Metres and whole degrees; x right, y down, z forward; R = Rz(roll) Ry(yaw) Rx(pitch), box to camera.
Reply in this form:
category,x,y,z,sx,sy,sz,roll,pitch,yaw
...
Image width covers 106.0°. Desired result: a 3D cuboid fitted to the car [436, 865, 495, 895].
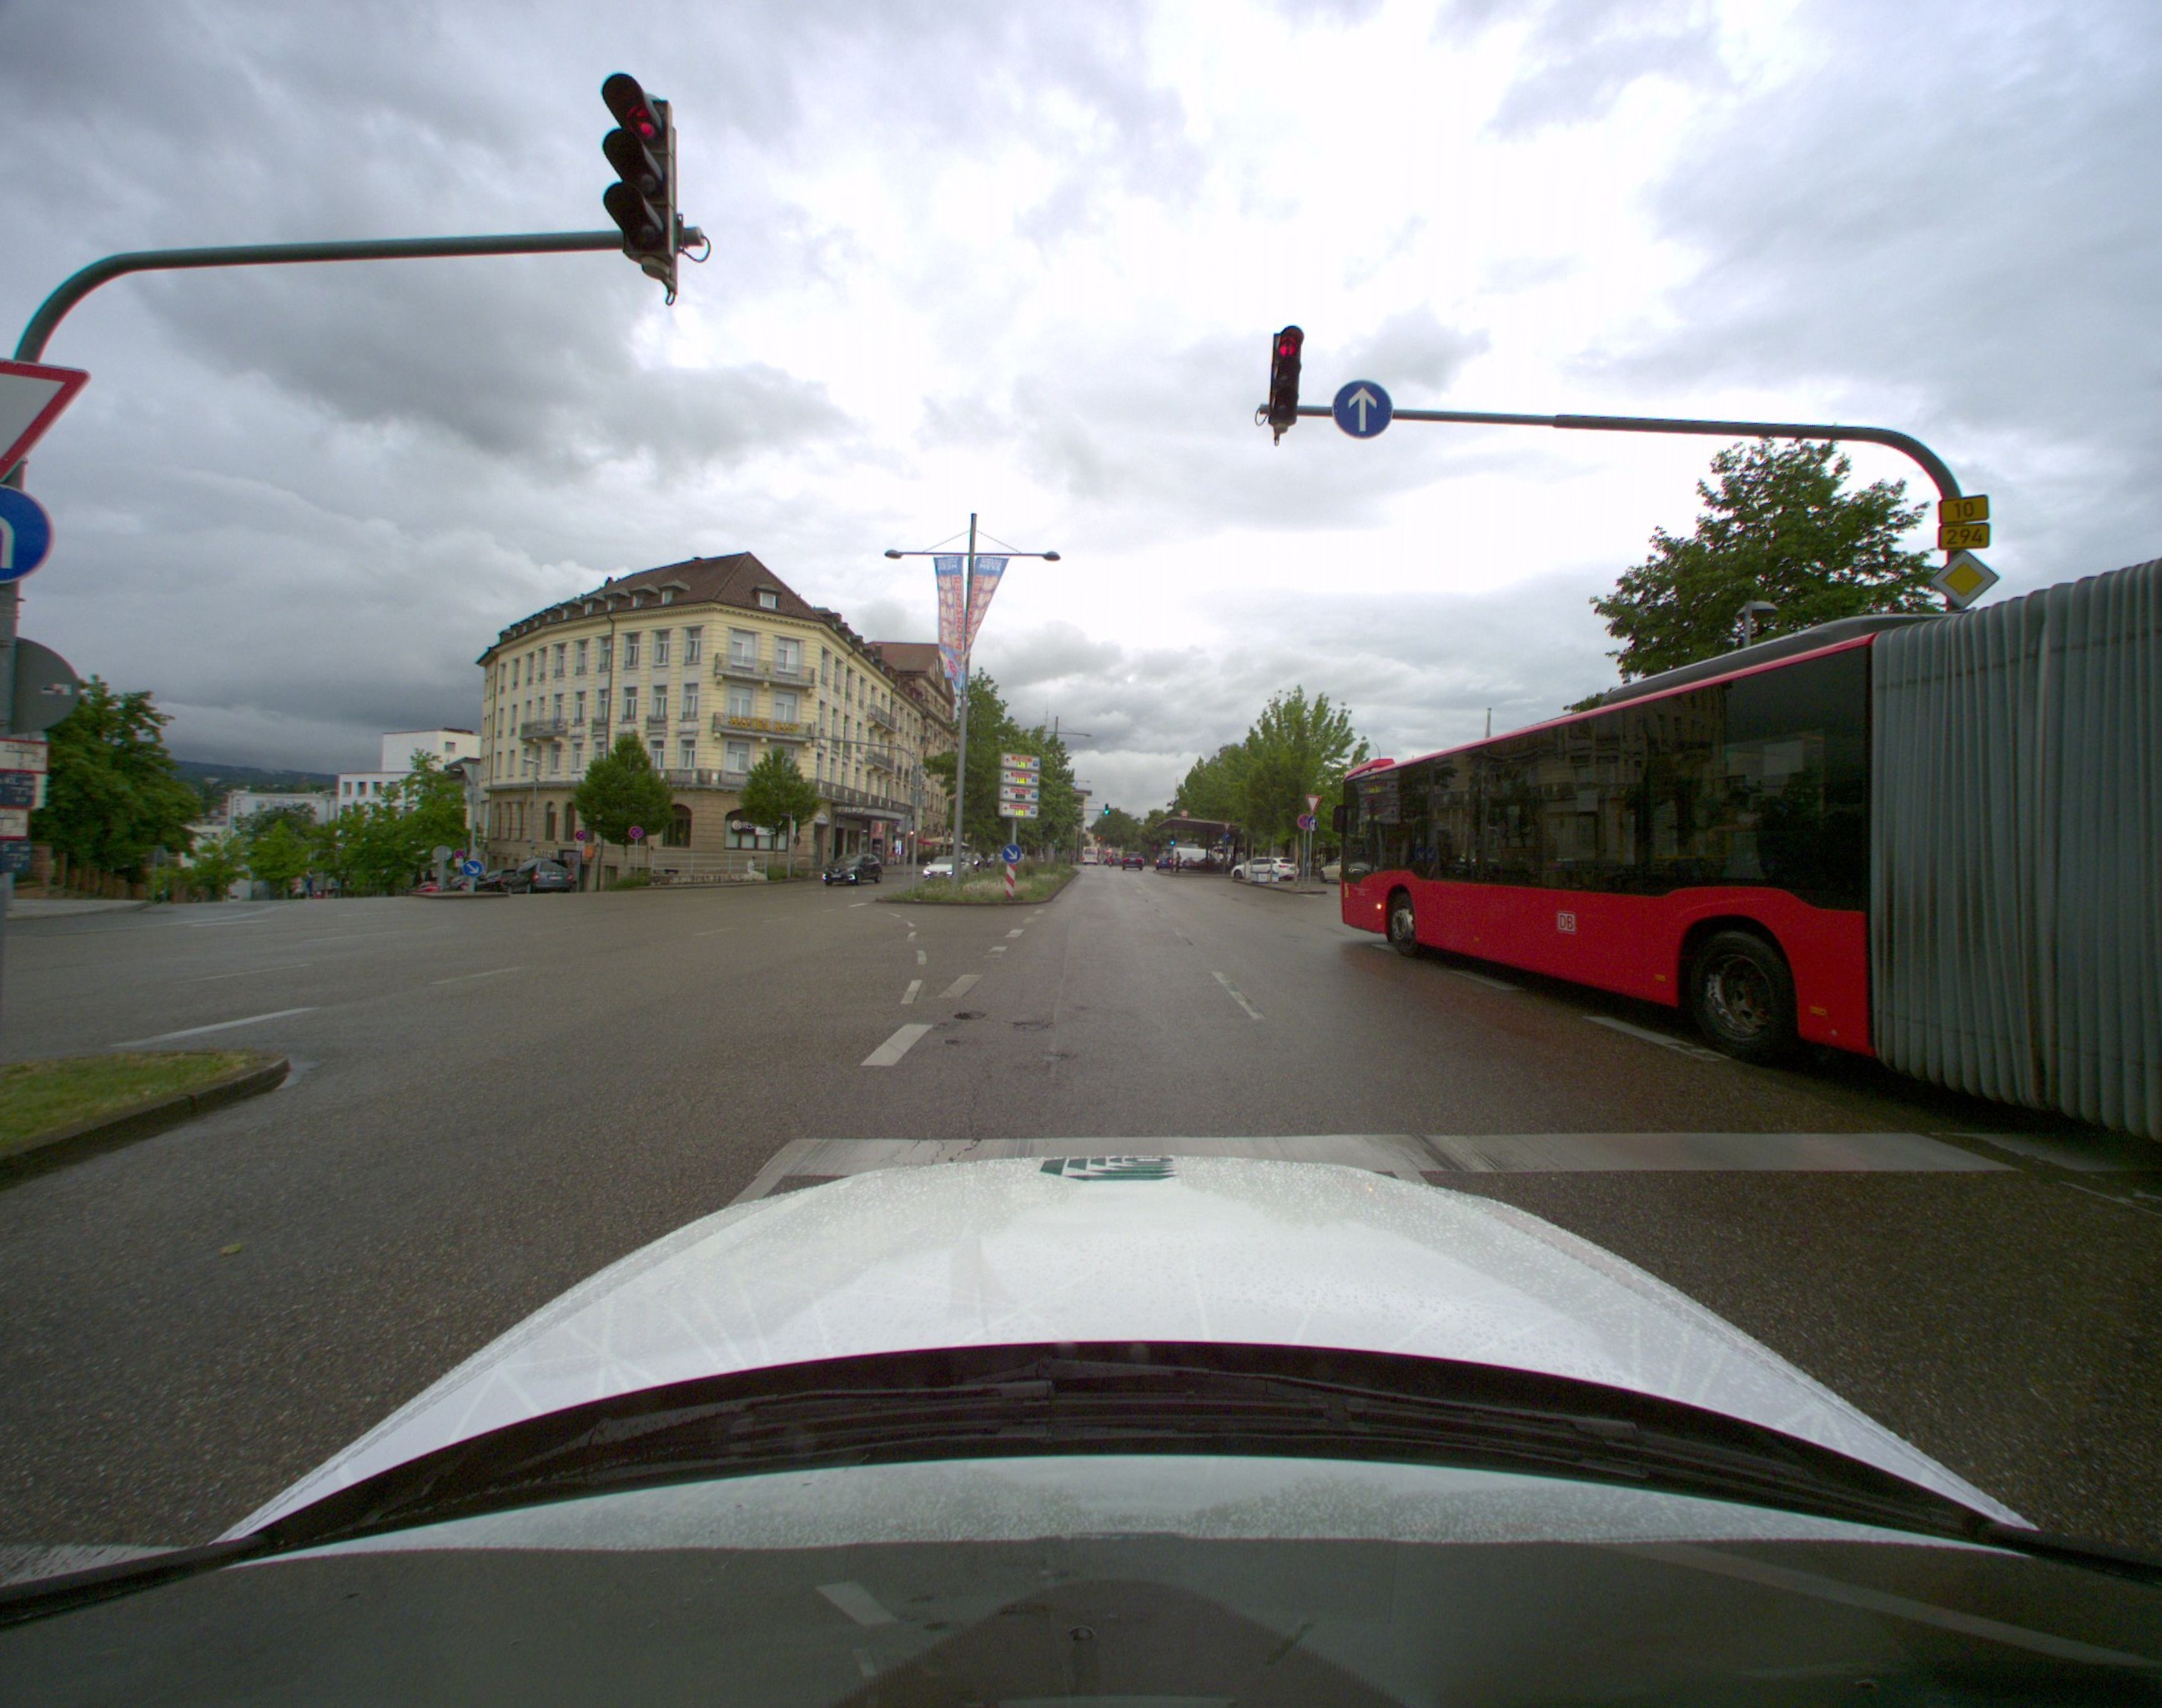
category,x,y,z,sx,sy,sz,roll,pitch,yaw
car,-36.309,1.491,48.029,3.864,1.640,1.805,0,0,37

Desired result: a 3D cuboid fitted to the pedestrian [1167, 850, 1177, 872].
category,x,y,z,sx,sy,sz,roll,pitch,yaw
pedestrian,7.434,0.603,66.553,0.717,1.791,0.663,0,0,-10

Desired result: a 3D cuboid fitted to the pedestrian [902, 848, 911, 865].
category,x,y,z,sx,sy,sz,roll,pitch,yaw
pedestrian,-16.064,0.244,75.100,0.666,1.510,0.513,0,-1,-36

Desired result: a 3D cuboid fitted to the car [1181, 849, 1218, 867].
category,x,y,z,sx,sy,sz,roll,pitch,yaw
car,14.025,0.456,96.506,3.998,2.013,1.988,0,0,-18

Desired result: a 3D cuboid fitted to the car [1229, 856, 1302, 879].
category,x,y,z,sx,sy,sz,roll,pitch,yaw
car,11.489,0.792,50.942,1.788,1.385,4.318,0,0,-39

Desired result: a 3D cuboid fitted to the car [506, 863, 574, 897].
category,x,y,z,sx,sy,sz,roll,pitch,yaw
car,-27.097,1.271,40.767,3.949,1.568,1.812,0,0,41

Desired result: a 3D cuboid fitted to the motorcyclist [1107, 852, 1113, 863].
category,x,y,z,sx,sy,sz,roll,pitch,yaw
motorcyclist,3.869,0.469,108.235,0.761,1.331,0.867,0,0,2

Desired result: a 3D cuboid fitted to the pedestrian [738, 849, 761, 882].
category,x,y,z,sx,sy,sz,roll,pitch,yaw
pedestrian,-19.356,0.682,47.595,0.860,1.878,1.023,0,0,1

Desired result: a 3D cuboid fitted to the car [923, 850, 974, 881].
category,x,y,z,sx,sy,sz,roll,pitch,yaw
car,-7.179,0.580,44.604,1.716,1.381,4.866,1,3,4

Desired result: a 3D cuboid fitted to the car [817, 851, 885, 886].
category,x,y,z,sx,sy,sz,roll,pitch,yaw
car,-11.556,0.689,41.208,1.761,1.530,4.089,1,1,9

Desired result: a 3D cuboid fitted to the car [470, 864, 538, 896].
category,x,y,z,sx,sy,sz,roll,pitch,yaw
car,-31.966,1.415,45.107,3.948,1.640,2.013,-1,-1,37

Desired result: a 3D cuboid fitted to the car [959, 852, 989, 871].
category,x,y,z,sx,sy,sz,roll,pitch,yaw
car,-8.569,0.616,65.408,1.624,1.476,4.029,0,0,3

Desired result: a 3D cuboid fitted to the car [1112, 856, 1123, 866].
category,x,y,z,sx,sy,sz,roll,pitch,yaw
car,5.565,1.048,124.959,1.702,1.448,4.001,0,0,2

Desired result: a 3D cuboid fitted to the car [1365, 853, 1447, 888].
category,x,y,z,sx,sy,sz,roll,pitch,yaw
car,14.888,0.717,37.600,1.907,1.524,4.741,0,0,0

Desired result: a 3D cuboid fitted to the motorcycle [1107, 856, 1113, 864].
category,x,y,z,sx,sy,sz,roll,pitch,yaw
motorcycle,3.861,0.791,108.169,0.763,1.077,2.176,0,0,2

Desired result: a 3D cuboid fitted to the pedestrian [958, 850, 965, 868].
category,x,y,z,sx,sy,sz,roll,pitch,yaw
pedestrian,-12.075,0.497,82.392,0.573,1.732,0.609,0,0,1

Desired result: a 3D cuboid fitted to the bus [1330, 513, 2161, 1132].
category,x,y,z,sx,sy,sz,roll,pitch,yaw
bus,5.879,-0.157,9.327,2.735,3.174,10.189,0,0,-1

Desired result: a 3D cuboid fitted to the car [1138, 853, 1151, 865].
category,x,y,z,sx,sy,sz,roll,pitch,yaw
car,9.487,0.758,122.197,1.781,1.860,4.002,0,0,2

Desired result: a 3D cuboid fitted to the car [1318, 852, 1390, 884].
category,x,y,z,sx,sy,sz,roll,pitch,yaw
car,14.685,0.719,44.094,1.990,1.600,4.814,0,0,-5

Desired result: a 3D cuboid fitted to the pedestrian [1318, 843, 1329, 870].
category,x,y,z,sx,sy,sz,roll,pitch,yaw
pedestrian,21.840,0.206,73.398,0.839,2.411,0.863,0,0,3

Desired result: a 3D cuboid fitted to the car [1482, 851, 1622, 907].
category,x,y,z,sx,sy,sz,roll,pitch,yaw
car,14.650,0.726,25.655,1.768,1.589,4.615,0,0,0

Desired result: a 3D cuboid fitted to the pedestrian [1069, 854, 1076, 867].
category,x,y,z,sx,sy,sz,roll,pitch,yaw
pedestrian,-1.052,0.812,103.219,0.754,1.701,0.561,0,0,8

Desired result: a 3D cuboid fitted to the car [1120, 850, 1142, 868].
category,x,y,z,sx,sy,sz,roll,pitch,yaw
car,4.991,0.477,81.812,1.986,1.806,4.691,0,0,2

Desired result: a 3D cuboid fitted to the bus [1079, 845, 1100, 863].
category,x,y,z,sx,sy,sz,roll,pitch,yaw
bus,1.599,0.041,152.395,3.748,3.209,15.523,0,0,0

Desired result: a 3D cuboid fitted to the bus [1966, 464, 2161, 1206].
category,x,y,z,sx,sy,sz,roll,pitch,yaw
bus,6.028,-0.087,0.215,2.735,3.174,8.117,0,0,-1

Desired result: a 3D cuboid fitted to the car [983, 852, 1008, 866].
category,x,y,z,sx,sy,sz,roll,pitch,yaw
car,-8.456,0.479,80.604,1.747,1.441,4.064,0,0,4

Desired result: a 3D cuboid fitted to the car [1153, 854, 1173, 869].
category,x,y,z,sx,sy,sz,roll,pitch,yaw
car,8.562,0.763,85.374,1.809,1.530,4.001,0,0,2

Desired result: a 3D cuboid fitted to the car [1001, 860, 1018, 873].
category,x,y,z,sx,sy,sz,roll,pitch,yaw
car,-8.282,1.410,94.289,1.753,1.369,4.051,3,0,-6

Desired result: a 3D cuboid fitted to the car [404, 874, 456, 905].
category,x,y,z,sx,sy,sz,roll,pitch,yaw
car,-41.185,2.208,51.489,3.575,1.812,1.788,0,0,38

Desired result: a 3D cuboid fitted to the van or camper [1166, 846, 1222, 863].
category,x,y,z,sx,sy,sz,roll,pitch,yaw
van or camper,14.234,0.091,102.695,6.787,2.014,2.366,0,-1,-25

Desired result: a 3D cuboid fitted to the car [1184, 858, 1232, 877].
category,x,y,z,sx,sy,sz,roll,pitch,yaw
car,12.824,1.392,82.137,4.348,1.857,1.988,0,0,-18
